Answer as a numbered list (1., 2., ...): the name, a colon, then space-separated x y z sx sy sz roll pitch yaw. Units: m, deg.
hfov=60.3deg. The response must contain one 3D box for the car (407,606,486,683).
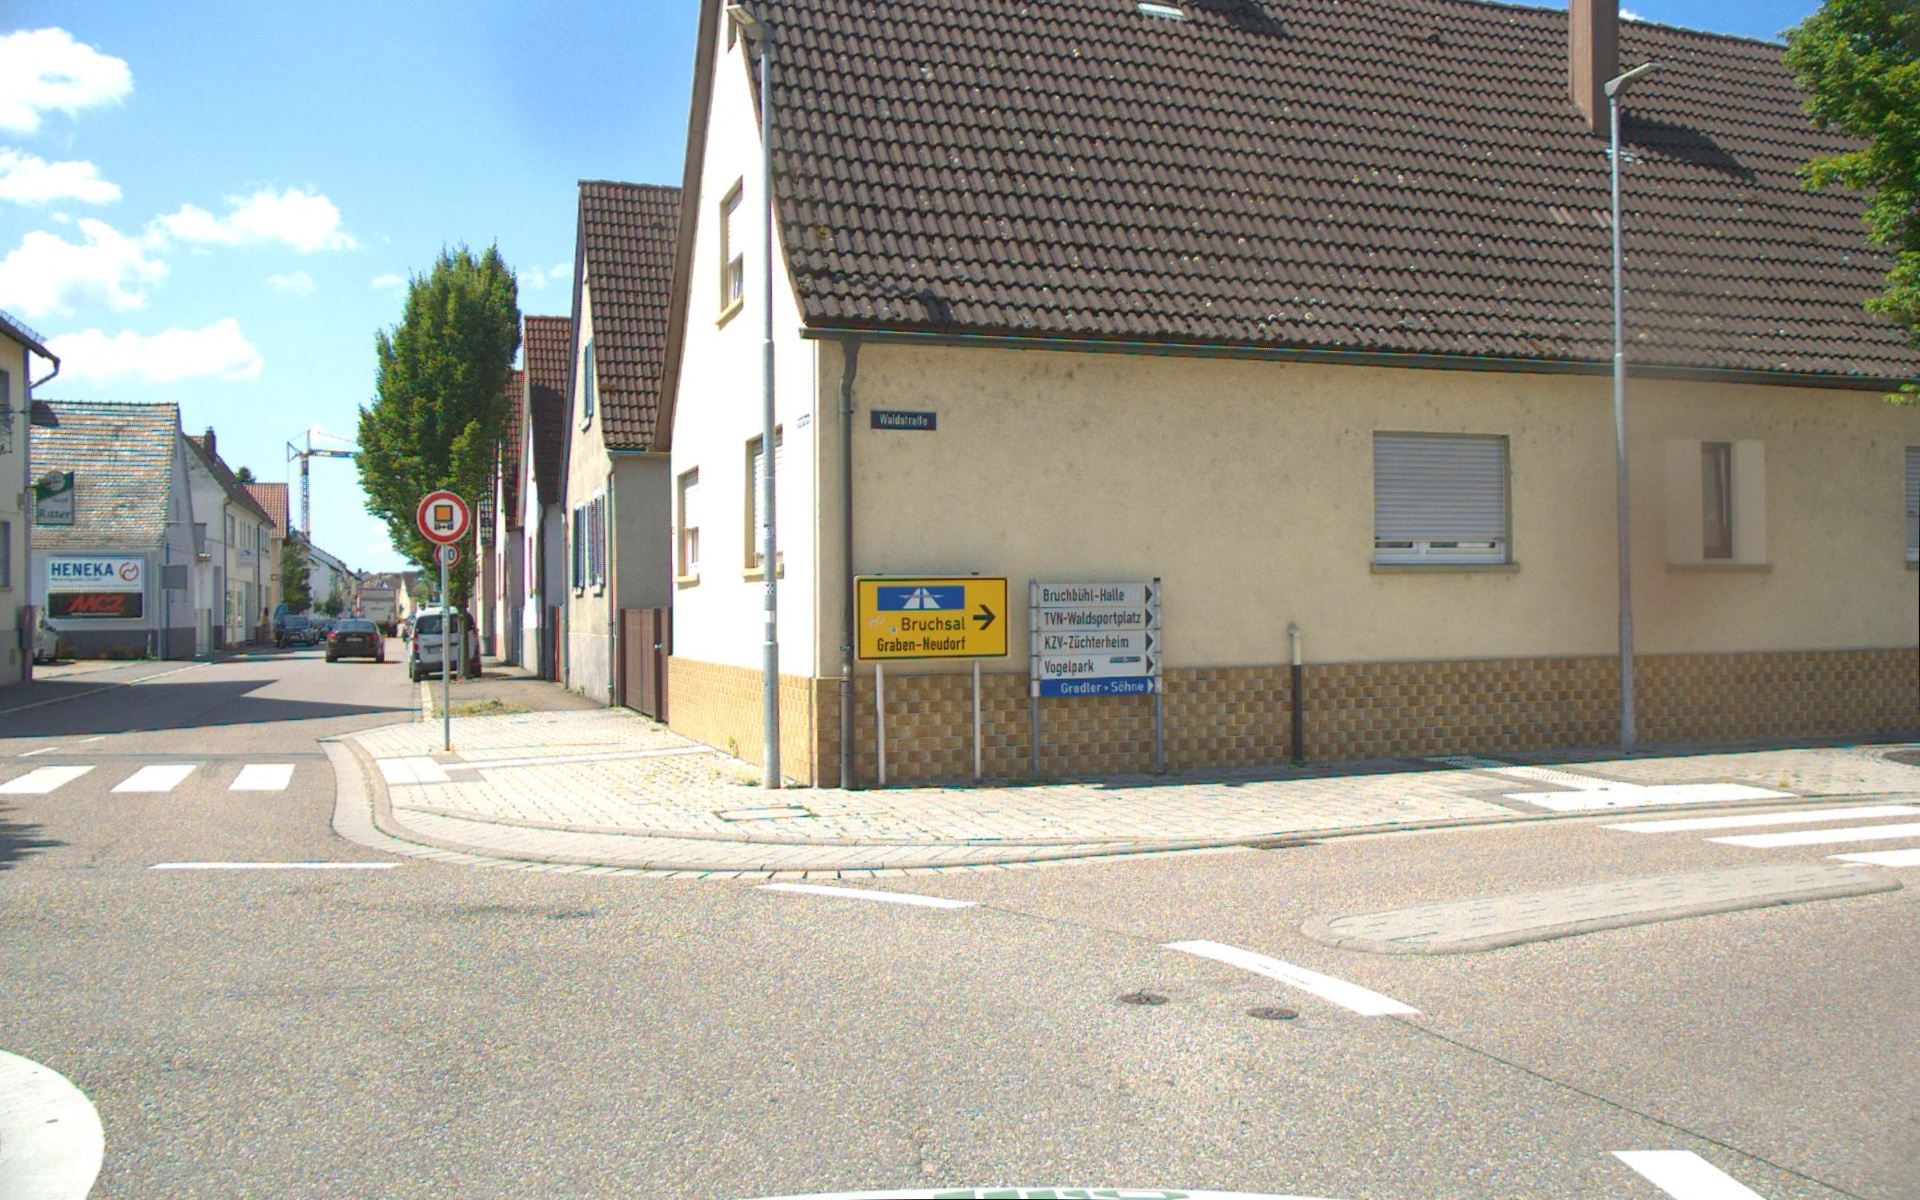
1. car: -13.372 1.122 42.937 1.695 1.821 4.118 -2 0 -20

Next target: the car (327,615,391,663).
1. car: -20.905 1.337 57.664 1.872 1.591 4.454 0 -1 -18

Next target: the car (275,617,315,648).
1. car: -35.787 1.725 89.085 1.782 1.617 3.977 0 -1 -19

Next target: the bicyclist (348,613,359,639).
1. bicyclist: -48.320 2.085 131.717 0.730 2.095 0.838 1 -2 -22

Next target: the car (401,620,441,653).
1. car: -25.199 1.706 77.356 1.692 1.487 4.136 0 -1 -17

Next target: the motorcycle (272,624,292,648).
1. motorcycle: -34.879 1.868 85.146 0.834 1.190 2.454 1 -2 -20

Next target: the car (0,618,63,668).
1. car: -30.780 1.382 54.337 1.694 1.583 4.173 1 -1 -20

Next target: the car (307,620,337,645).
1. car: -43.361 2.198 112.445 1.782 1.617 3.977 0 -1 -19

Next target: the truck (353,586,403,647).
1. truck: -43.363 1.288 123.375 3.095 4.325 9.255 1 -2 -17
